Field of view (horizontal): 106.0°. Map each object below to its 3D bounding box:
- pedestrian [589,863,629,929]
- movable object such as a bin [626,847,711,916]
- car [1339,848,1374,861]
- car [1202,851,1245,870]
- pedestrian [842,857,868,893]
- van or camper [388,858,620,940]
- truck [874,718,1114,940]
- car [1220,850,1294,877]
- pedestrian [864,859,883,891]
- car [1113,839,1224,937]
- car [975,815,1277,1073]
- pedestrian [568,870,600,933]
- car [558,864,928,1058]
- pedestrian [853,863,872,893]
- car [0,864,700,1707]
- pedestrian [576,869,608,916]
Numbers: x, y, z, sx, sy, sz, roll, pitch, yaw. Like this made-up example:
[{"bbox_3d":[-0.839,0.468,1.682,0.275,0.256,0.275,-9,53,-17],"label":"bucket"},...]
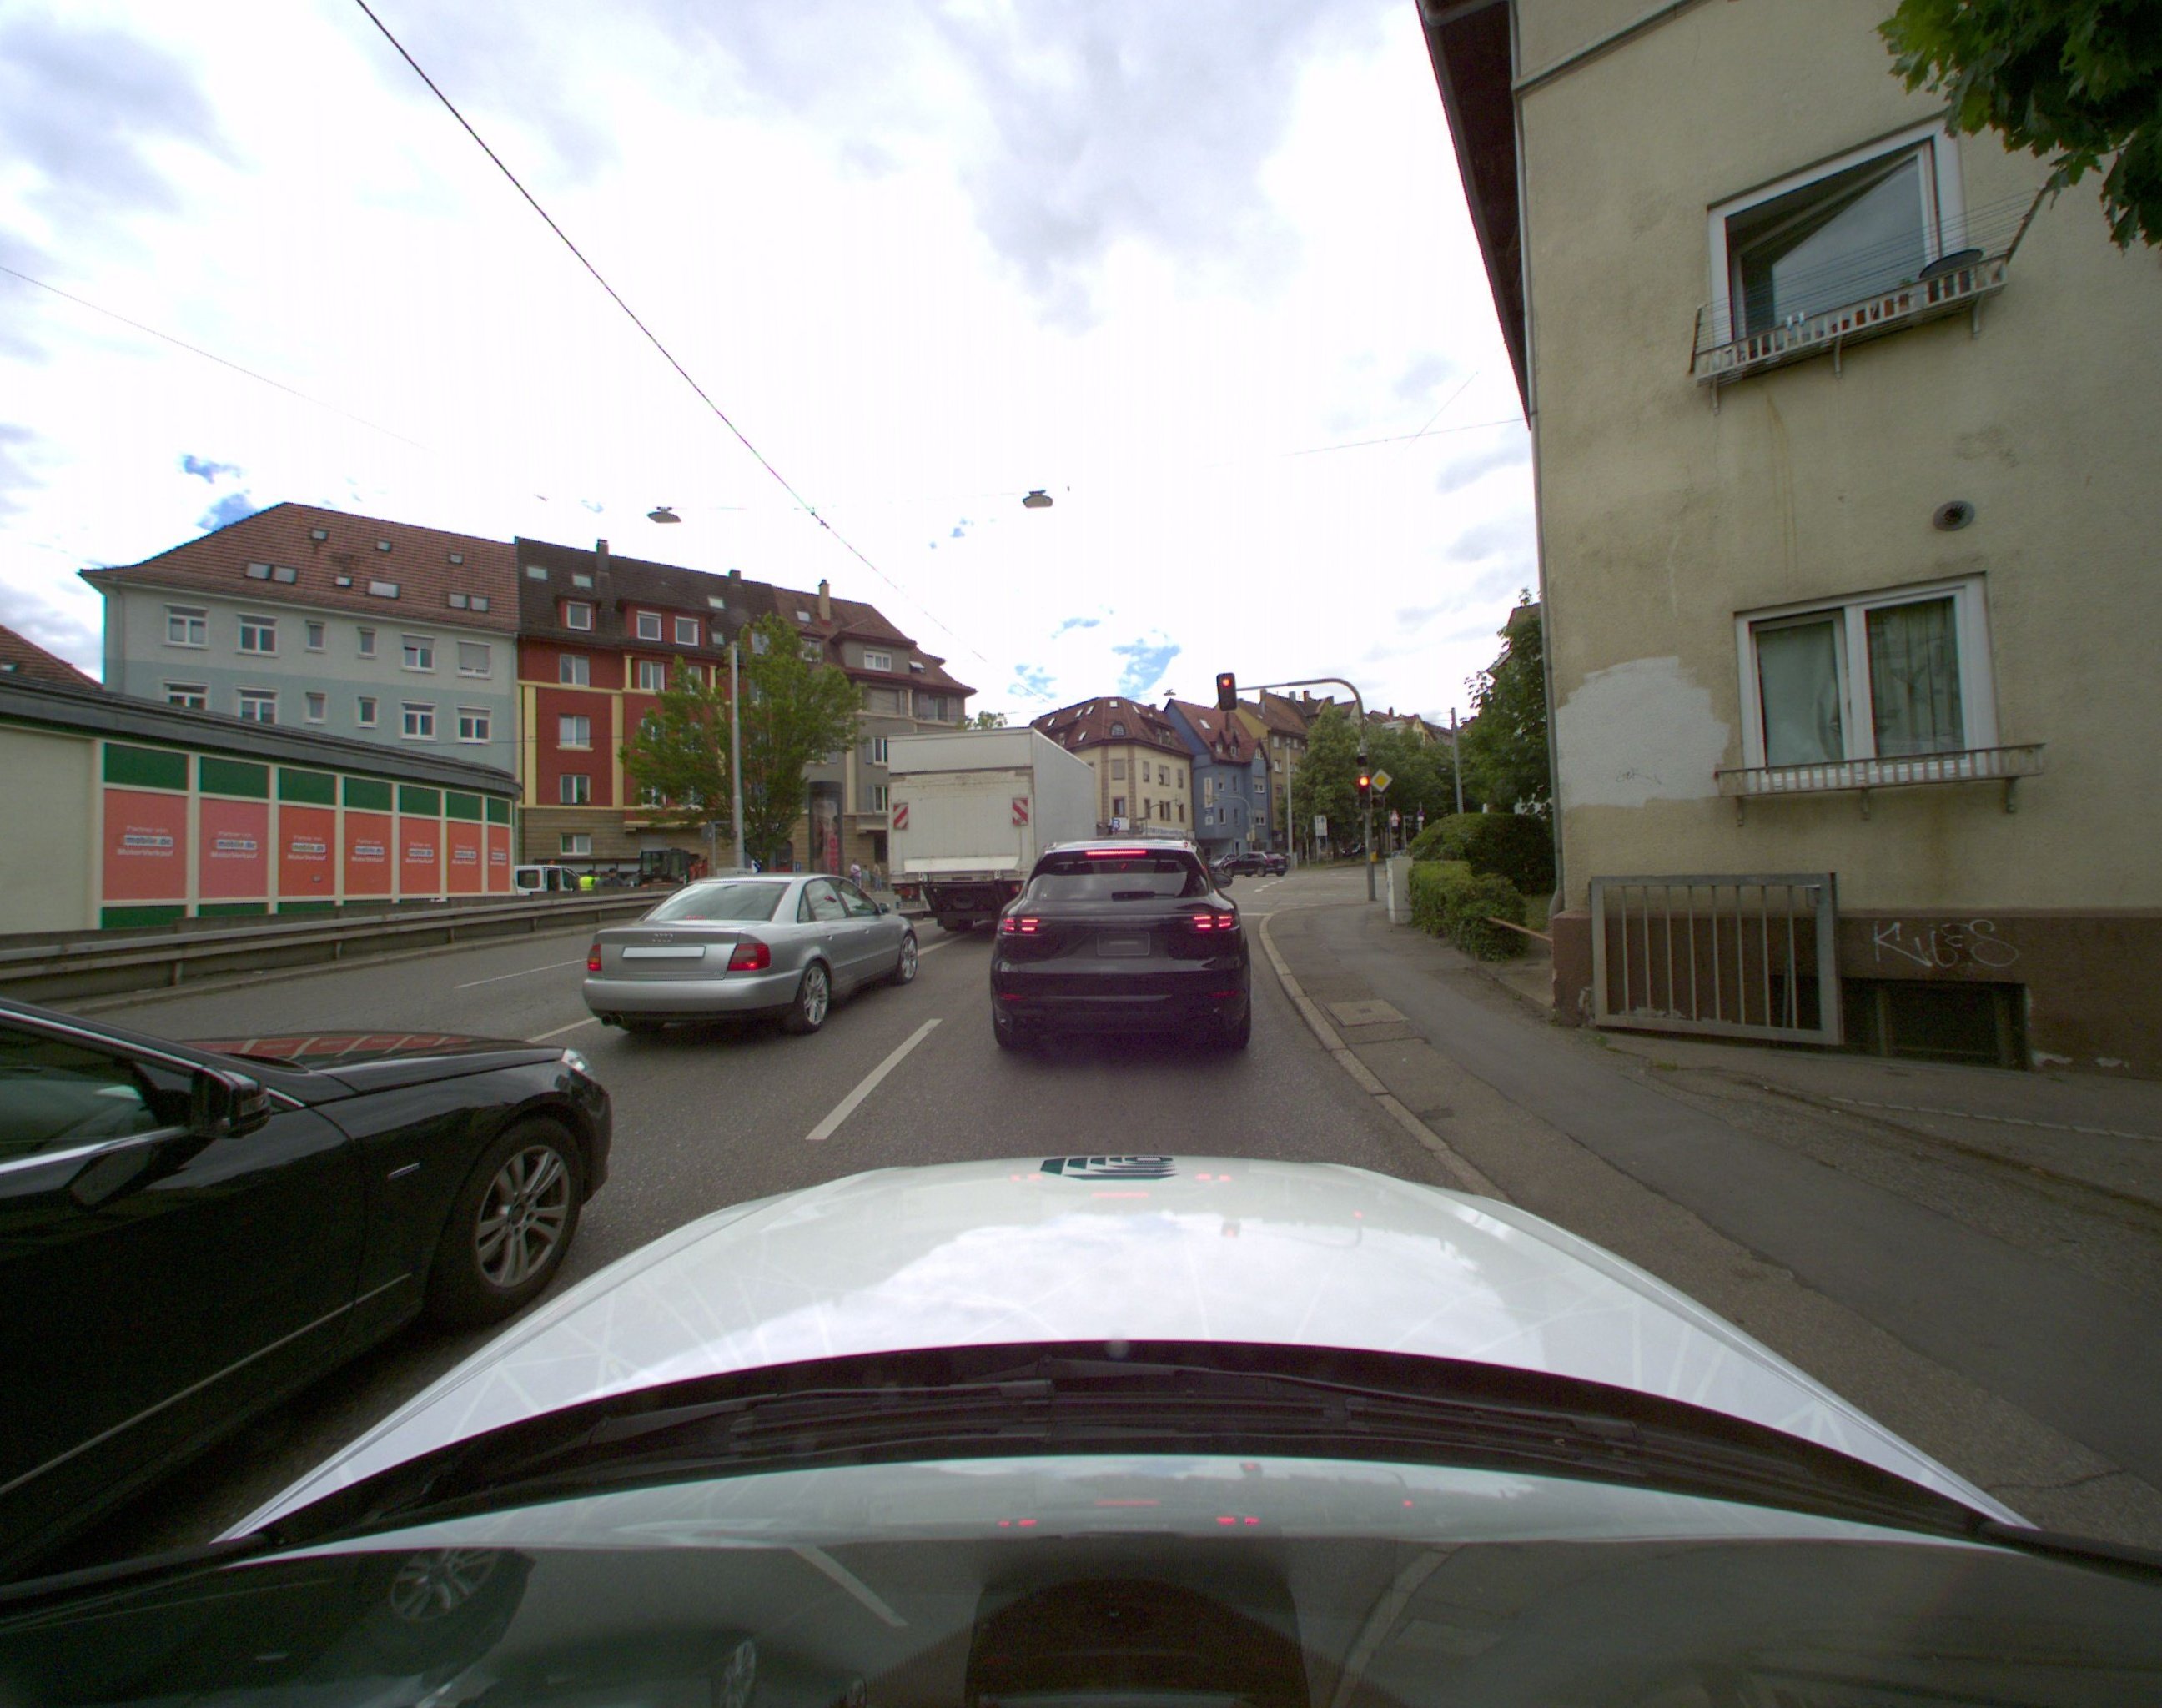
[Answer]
[{"bbox_3d":[-12.002,1.051,20.749,0.690,1.637,0.774,-2,0,-19],"label":"pedestrian"},{"bbox_3d":[-13.154,0.837,26.151,1.375,2.013,3.524,-2,0,-10],"label":"movable object such as a bin"},{"bbox_3d":[30.531,0.071,90.117,1.852,1.416,4.727,-1,-1,43],"label":"car"},{"bbox_3d":[12.454,0.593,70.986,1.700,1.477,4.244,-2,-3,42],"label":"car"},{"bbox_3d":[-10.188,0.946,36.656,0.785,1.546,0.743,-2,0,28],"label":"pedestrian"},{"bbox_3d":[-18.996,1.380,27.262,6.028,2.338,2.661,-1,0,-33],"label":"van or camper"},{"bbox_3d":[-1.299,-0.396,17.511,2.708,3.544,8.446,-2,0,10],"label":"truck"},{"bbox_3d":[10.360,0.520,48.070,2.008,1.530,3.957,0,0,-35],"label":"car"},{"bbox_3d":[-9.676,0.981,37.936,0.657,1.487,0.517,-2,0,-40],"label":"pedestrian"},{"bbox_3d":[1.712,0.559,14.887,1.638,1.556,3.595,-1,-1,12],"label":"car"},{"bbox_3d":[0.371,0.615,7.737,2.024,1.723,4.502,0,0,2],"label":"car"},{"bbox_3d":[-16.365,1.553,26.813,0.828,2.013,0.674,-1,0,-28],"label":"pedestrian"},{"bbox_3d":[-2.963,0.841,8.225,1.620,1.365,4.135,-2,0,6],"label":"car"},{"bbox_3d":[-10.027,1.085,37.385,0.568,1.338,0.588,-2,0,36],"label":"pedestrian"},{"bbox_3d":[-2.881,0.803,1.413,1.986,1.429,4.844,-2,0,2],"label":"car"},{"bbox_3d":[-14.841,1.162,24.720,0.594,1.363,0.630,-2,0,35],"label":"pedestrian"}]
